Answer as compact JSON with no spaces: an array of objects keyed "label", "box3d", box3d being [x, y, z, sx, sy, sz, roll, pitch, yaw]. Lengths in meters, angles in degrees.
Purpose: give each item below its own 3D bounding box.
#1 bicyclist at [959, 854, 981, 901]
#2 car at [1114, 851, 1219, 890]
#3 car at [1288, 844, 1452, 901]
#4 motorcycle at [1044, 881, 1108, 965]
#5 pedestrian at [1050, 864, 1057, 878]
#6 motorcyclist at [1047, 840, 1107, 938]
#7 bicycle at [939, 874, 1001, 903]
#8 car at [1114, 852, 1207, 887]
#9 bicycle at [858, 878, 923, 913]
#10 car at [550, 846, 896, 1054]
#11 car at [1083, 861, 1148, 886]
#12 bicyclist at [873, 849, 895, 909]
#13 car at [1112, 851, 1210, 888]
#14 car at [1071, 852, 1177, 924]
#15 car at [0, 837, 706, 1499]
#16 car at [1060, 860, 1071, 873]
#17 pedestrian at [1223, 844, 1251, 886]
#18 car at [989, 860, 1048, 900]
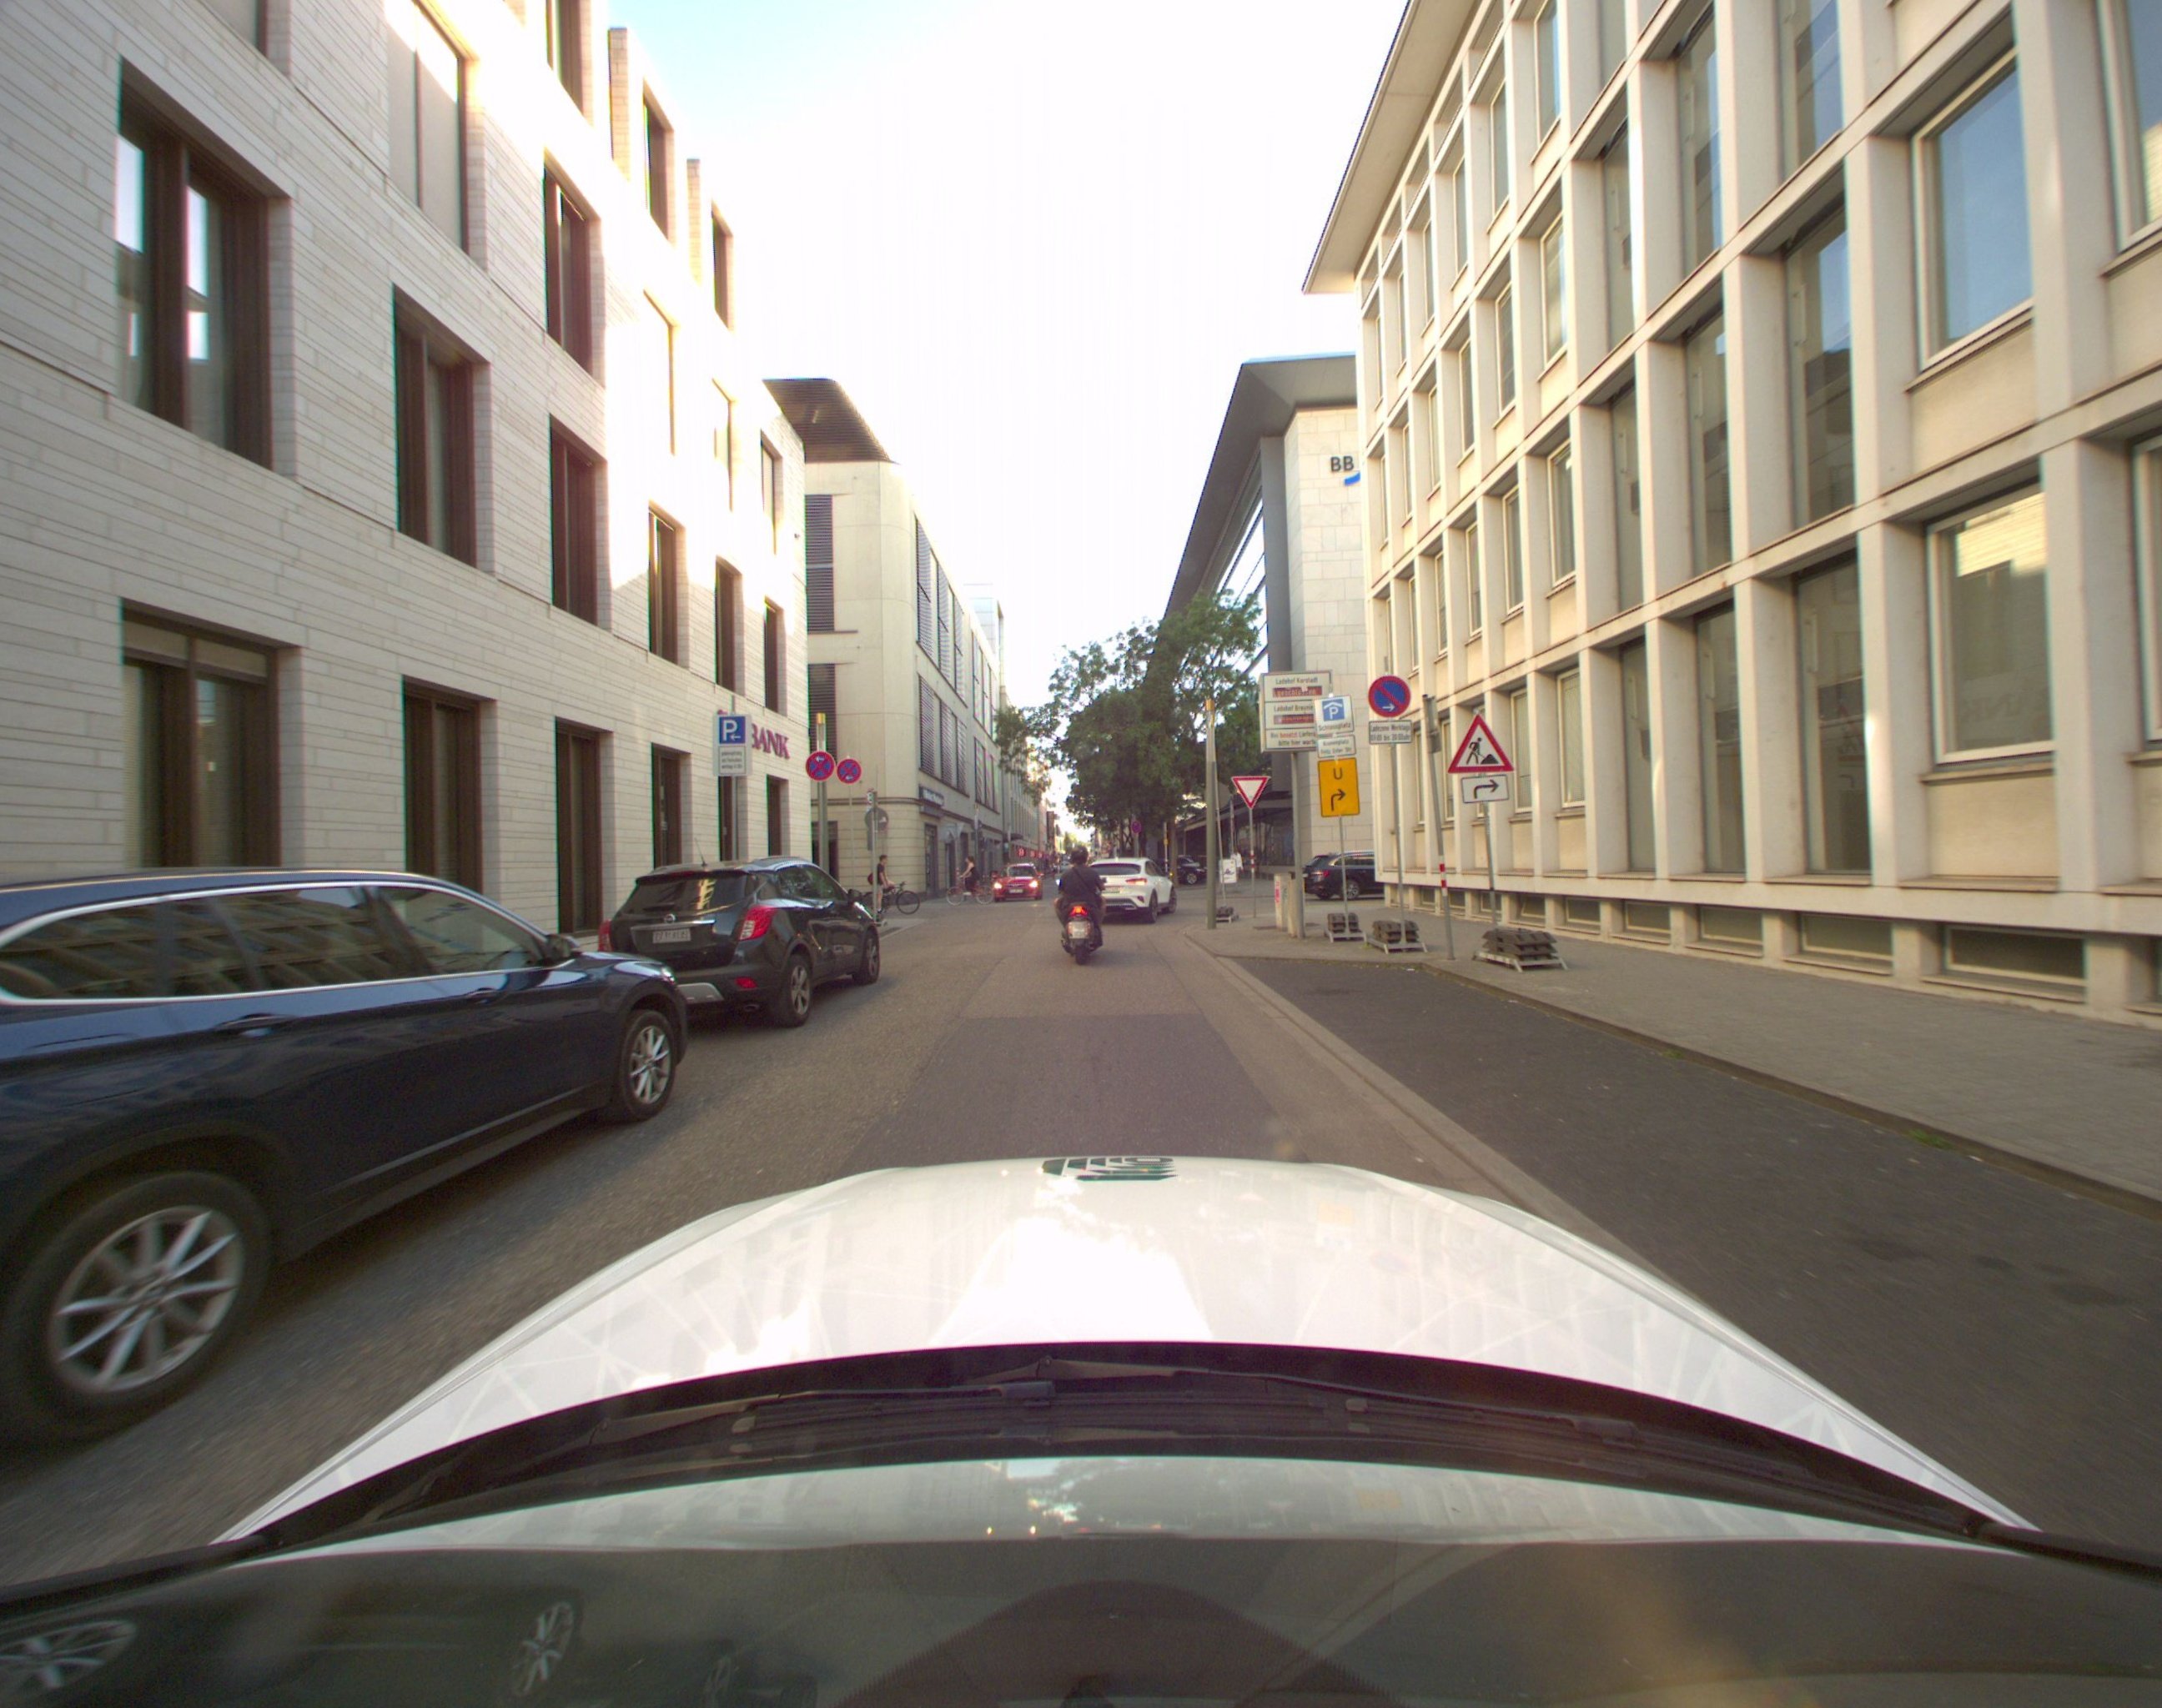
[{"label":"bicyclist","box3d":[-3.907,0.818,28.683,0.627,1.625,0.498,-1,-2,5]},{"label":"car","box3d":[4.317,0.849,41.687,4.992,1.452,1.998,-5,-1,-2]},{"label":"car","box3d":[8.757,0.520,24.844,4.342,1.541,1.826,-2,1,-5]},{"label":"motorcycle","box3d":[-0.042,0.979,12.123,0.869,1.109,1.840,-1,-1,1]},{"label":"pedestrian","box3d":[-3.175,1.998,93.629,0.729,1.574,0.636,-1,-2,1]},{"label":"motorcyclist","box3d":[-0.048,0.515,12.211,0.864,1.427,0.455,-1,-2,1]},{"label":"bicycle","box3d":[-3.898,1.219,28.682,2.092,0.995,0.519,-1,-2,5]},{"label":"car","box3d":[4.506,0.869,46.495,4.992,1.499,1.998,-5,-1,-2]},{"label":"bicycle","box3d":[-5.544,1.207,23.754,1.813,0.974,0.509,-1,-2,-9]},{"label":"car","box3d":[-3.576,0.826,9.160,1.816,1.677,4.265,-4,0,1]},{"label":"car","box3d":[2.762,1.597,65.986,4.992,1.499,1.998,-5,-1,-2]},{"label":"bicyclist","box3d":[-5.736,0.731,23.736,0.550,1.732,0.500,-1,-2,-8]},{"label":"car","box3d":[4.281,0.816,44.133,4.992,1.499,1.998,-5,-1,-2]},{"label":"car","box3d":[1.176,0.755,19.988,1.809,1.541,4.279,-2,0,13]},{"label":"car","box3d":[-3.518,0.810,3.587,1.734,1.594,4.153,-4,0,0]},{"label":"car","box3d":[-2.963,2.343,154.288,1.988,2.329,5.016,0,-1,-2]},{"label":"pedestrian","box3d":[6.652,0.462,34.728,0.902,1.706,0.834,-4,-2,1]},{"label":"car","box3d":[-2.433,1.072,32.794,1.815,1.465,4.265,-2,-2,3]}]
